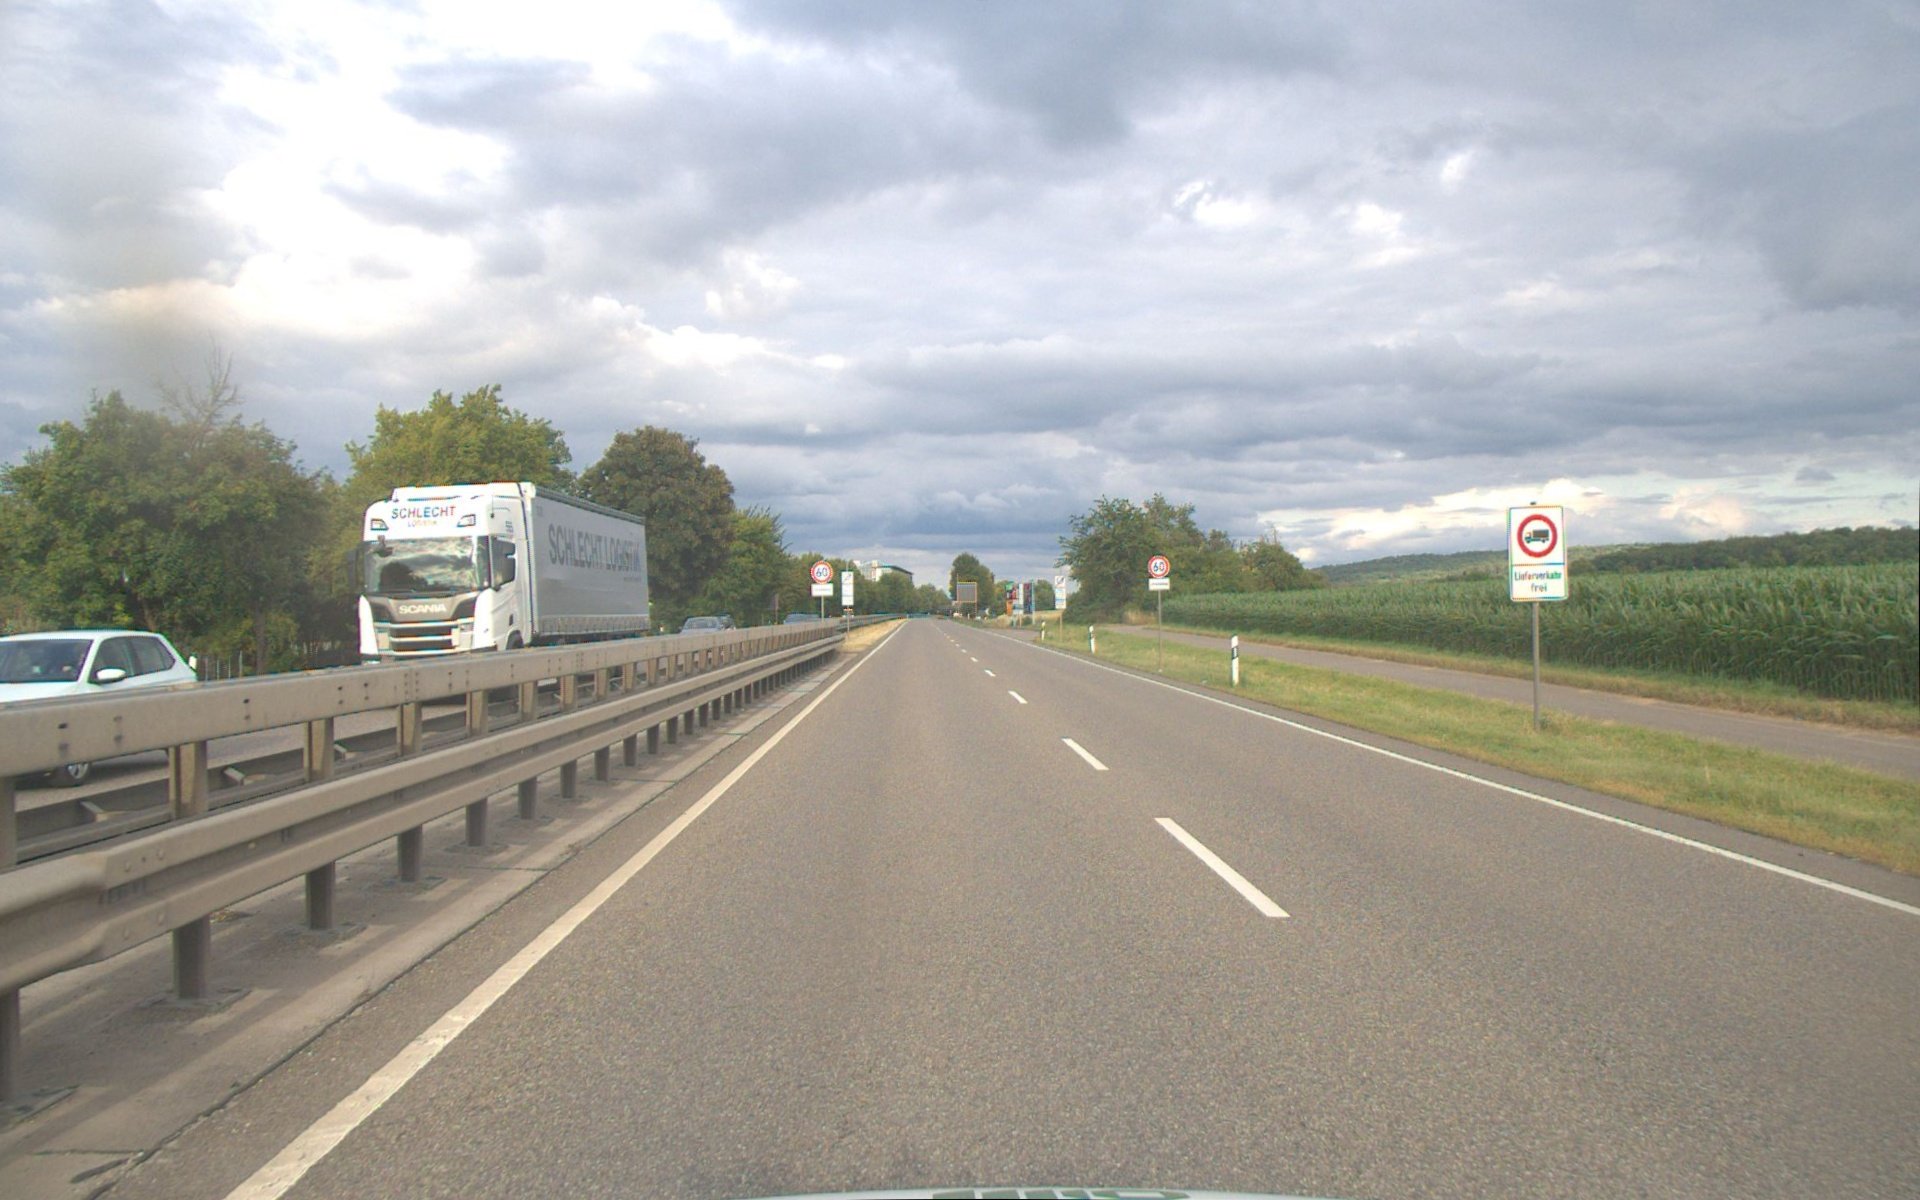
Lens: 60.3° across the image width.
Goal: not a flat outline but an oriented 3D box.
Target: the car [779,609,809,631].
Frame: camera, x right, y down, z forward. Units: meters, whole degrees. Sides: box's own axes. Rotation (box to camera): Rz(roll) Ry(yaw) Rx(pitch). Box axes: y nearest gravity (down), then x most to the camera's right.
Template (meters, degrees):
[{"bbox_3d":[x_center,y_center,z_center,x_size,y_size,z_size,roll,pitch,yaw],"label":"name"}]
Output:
[{"bbox_3d":[-12.341,1.466,123.262,1.829,1.503,4.824,-2,0,-2],"label":"car"}]

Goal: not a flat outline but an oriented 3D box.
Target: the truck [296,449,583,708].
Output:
[{"bbox_3d":[-9.528,-0.361,31.109,3.405,4.222,6.047,-3,0,-2],"label":"truck"}]

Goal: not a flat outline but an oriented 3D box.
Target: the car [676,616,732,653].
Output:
[{"bbox_3d":[-10.584,1.410,68.596,1.753,1.410,4.159,-2,0,-2],"label":"car"}]

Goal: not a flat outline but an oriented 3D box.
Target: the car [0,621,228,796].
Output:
[{"bbox_3d":[-9.151,1.010,16.674,1.753,1.469,4.159,-2,0,-2],"label":"car"}]

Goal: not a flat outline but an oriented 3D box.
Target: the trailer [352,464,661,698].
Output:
[{"bbox_3d":[-9.767,-0.352,37.997,3.395,4.222,13.912,-3,0,-1],"label":"trailer"}]

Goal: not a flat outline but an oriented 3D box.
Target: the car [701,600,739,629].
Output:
[{"bbox_3d":[-14.417,0.846,99.425,1.753,1.601,4.159,-2,0,-2],"label":"car"}]
